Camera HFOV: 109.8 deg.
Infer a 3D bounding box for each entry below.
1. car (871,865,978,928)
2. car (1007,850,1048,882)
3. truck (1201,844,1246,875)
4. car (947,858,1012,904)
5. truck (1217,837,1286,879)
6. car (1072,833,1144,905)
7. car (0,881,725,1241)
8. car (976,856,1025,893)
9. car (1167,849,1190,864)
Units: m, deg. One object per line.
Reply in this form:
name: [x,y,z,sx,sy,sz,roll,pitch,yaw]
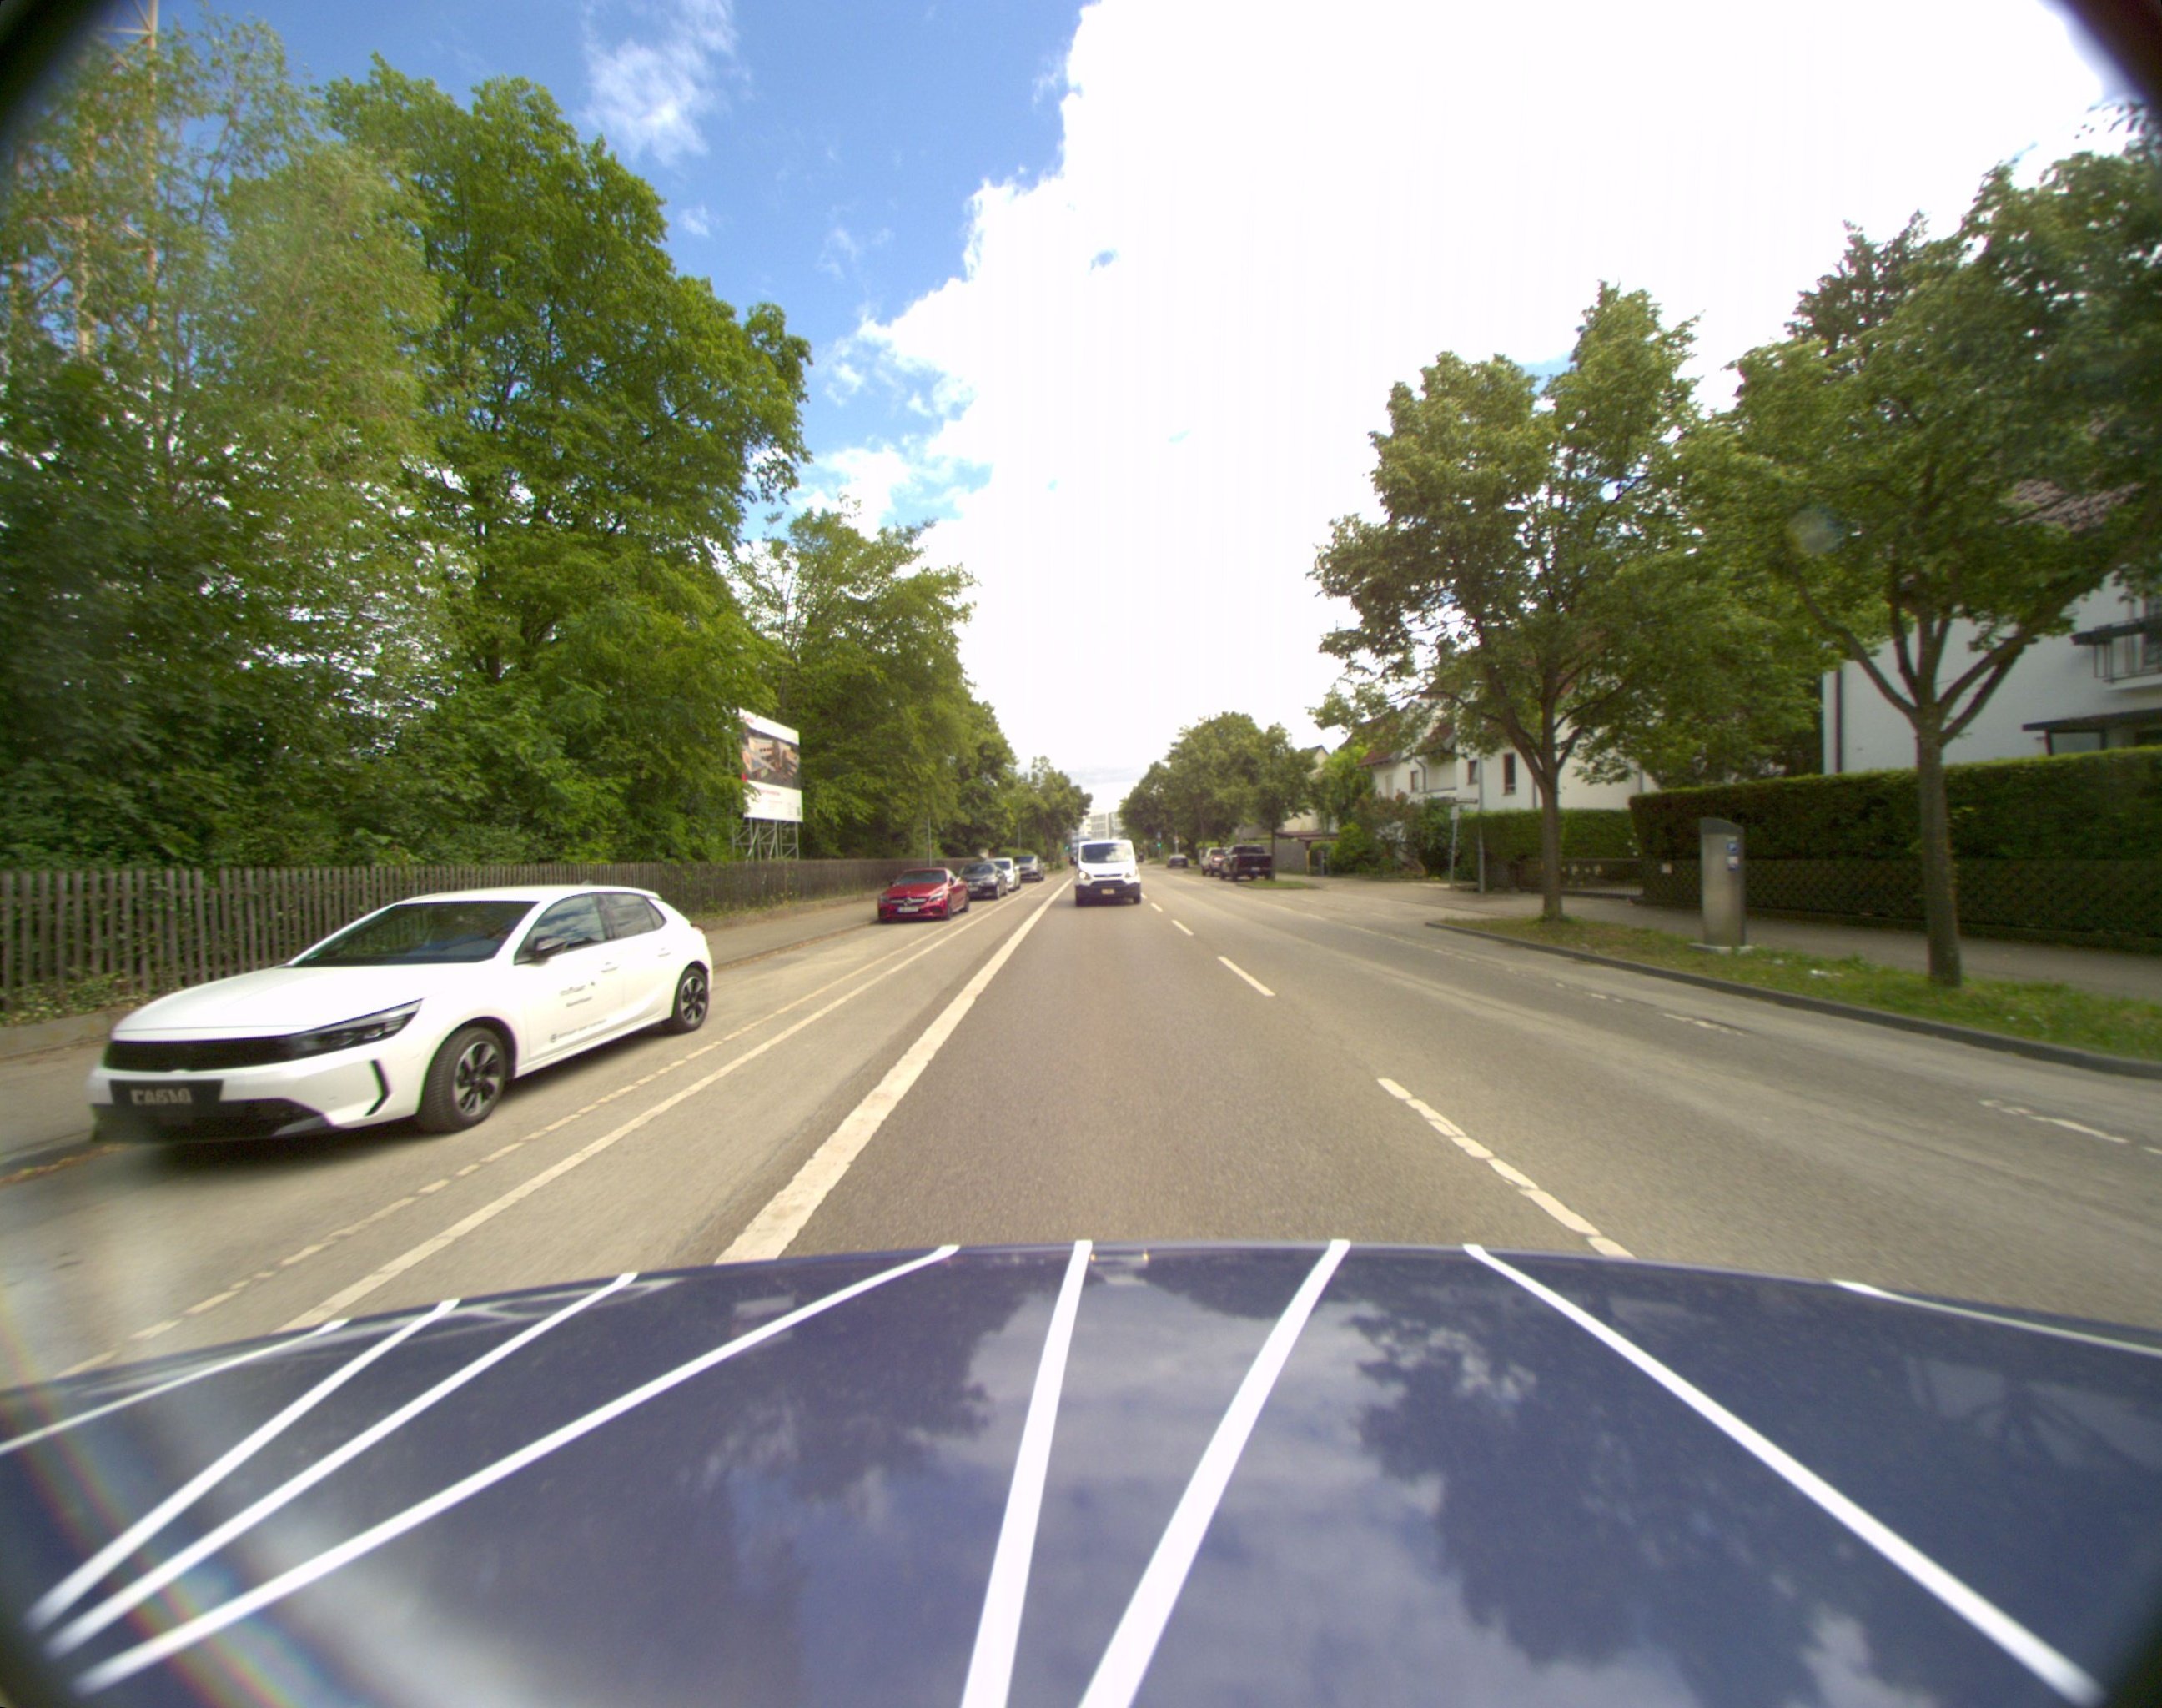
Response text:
car: [-4.238,1.107,21.281,1.863,1.405,4.444,-4,0,2]
car: [-3.353,0.692,48.525,1.998,1.805,4.827,-3,1,2]
truck: [9.074,0.310,48.756,1.971,1.857,5.664,0,1,2]
car: [-3.959,1.008,30.405,1.820,1.506,4.679,-3,1,1]
truck: [9.060,0.172,40.933,2.429,2.031,5.995,-2,0,1]
car: [0.864,0.394,24.614,1.998,2.002,5.188,-3,1,2]
car: [-4.562,1.078,5.660,1.772,1.502,4.030,-2,1,2]
car: [-3.817,0.918,36.685,1.867,1.580,4.421,-2,0,0]
car: [9.886,0.242,77.240,1.750,1.400,4.927,0,0,1]
